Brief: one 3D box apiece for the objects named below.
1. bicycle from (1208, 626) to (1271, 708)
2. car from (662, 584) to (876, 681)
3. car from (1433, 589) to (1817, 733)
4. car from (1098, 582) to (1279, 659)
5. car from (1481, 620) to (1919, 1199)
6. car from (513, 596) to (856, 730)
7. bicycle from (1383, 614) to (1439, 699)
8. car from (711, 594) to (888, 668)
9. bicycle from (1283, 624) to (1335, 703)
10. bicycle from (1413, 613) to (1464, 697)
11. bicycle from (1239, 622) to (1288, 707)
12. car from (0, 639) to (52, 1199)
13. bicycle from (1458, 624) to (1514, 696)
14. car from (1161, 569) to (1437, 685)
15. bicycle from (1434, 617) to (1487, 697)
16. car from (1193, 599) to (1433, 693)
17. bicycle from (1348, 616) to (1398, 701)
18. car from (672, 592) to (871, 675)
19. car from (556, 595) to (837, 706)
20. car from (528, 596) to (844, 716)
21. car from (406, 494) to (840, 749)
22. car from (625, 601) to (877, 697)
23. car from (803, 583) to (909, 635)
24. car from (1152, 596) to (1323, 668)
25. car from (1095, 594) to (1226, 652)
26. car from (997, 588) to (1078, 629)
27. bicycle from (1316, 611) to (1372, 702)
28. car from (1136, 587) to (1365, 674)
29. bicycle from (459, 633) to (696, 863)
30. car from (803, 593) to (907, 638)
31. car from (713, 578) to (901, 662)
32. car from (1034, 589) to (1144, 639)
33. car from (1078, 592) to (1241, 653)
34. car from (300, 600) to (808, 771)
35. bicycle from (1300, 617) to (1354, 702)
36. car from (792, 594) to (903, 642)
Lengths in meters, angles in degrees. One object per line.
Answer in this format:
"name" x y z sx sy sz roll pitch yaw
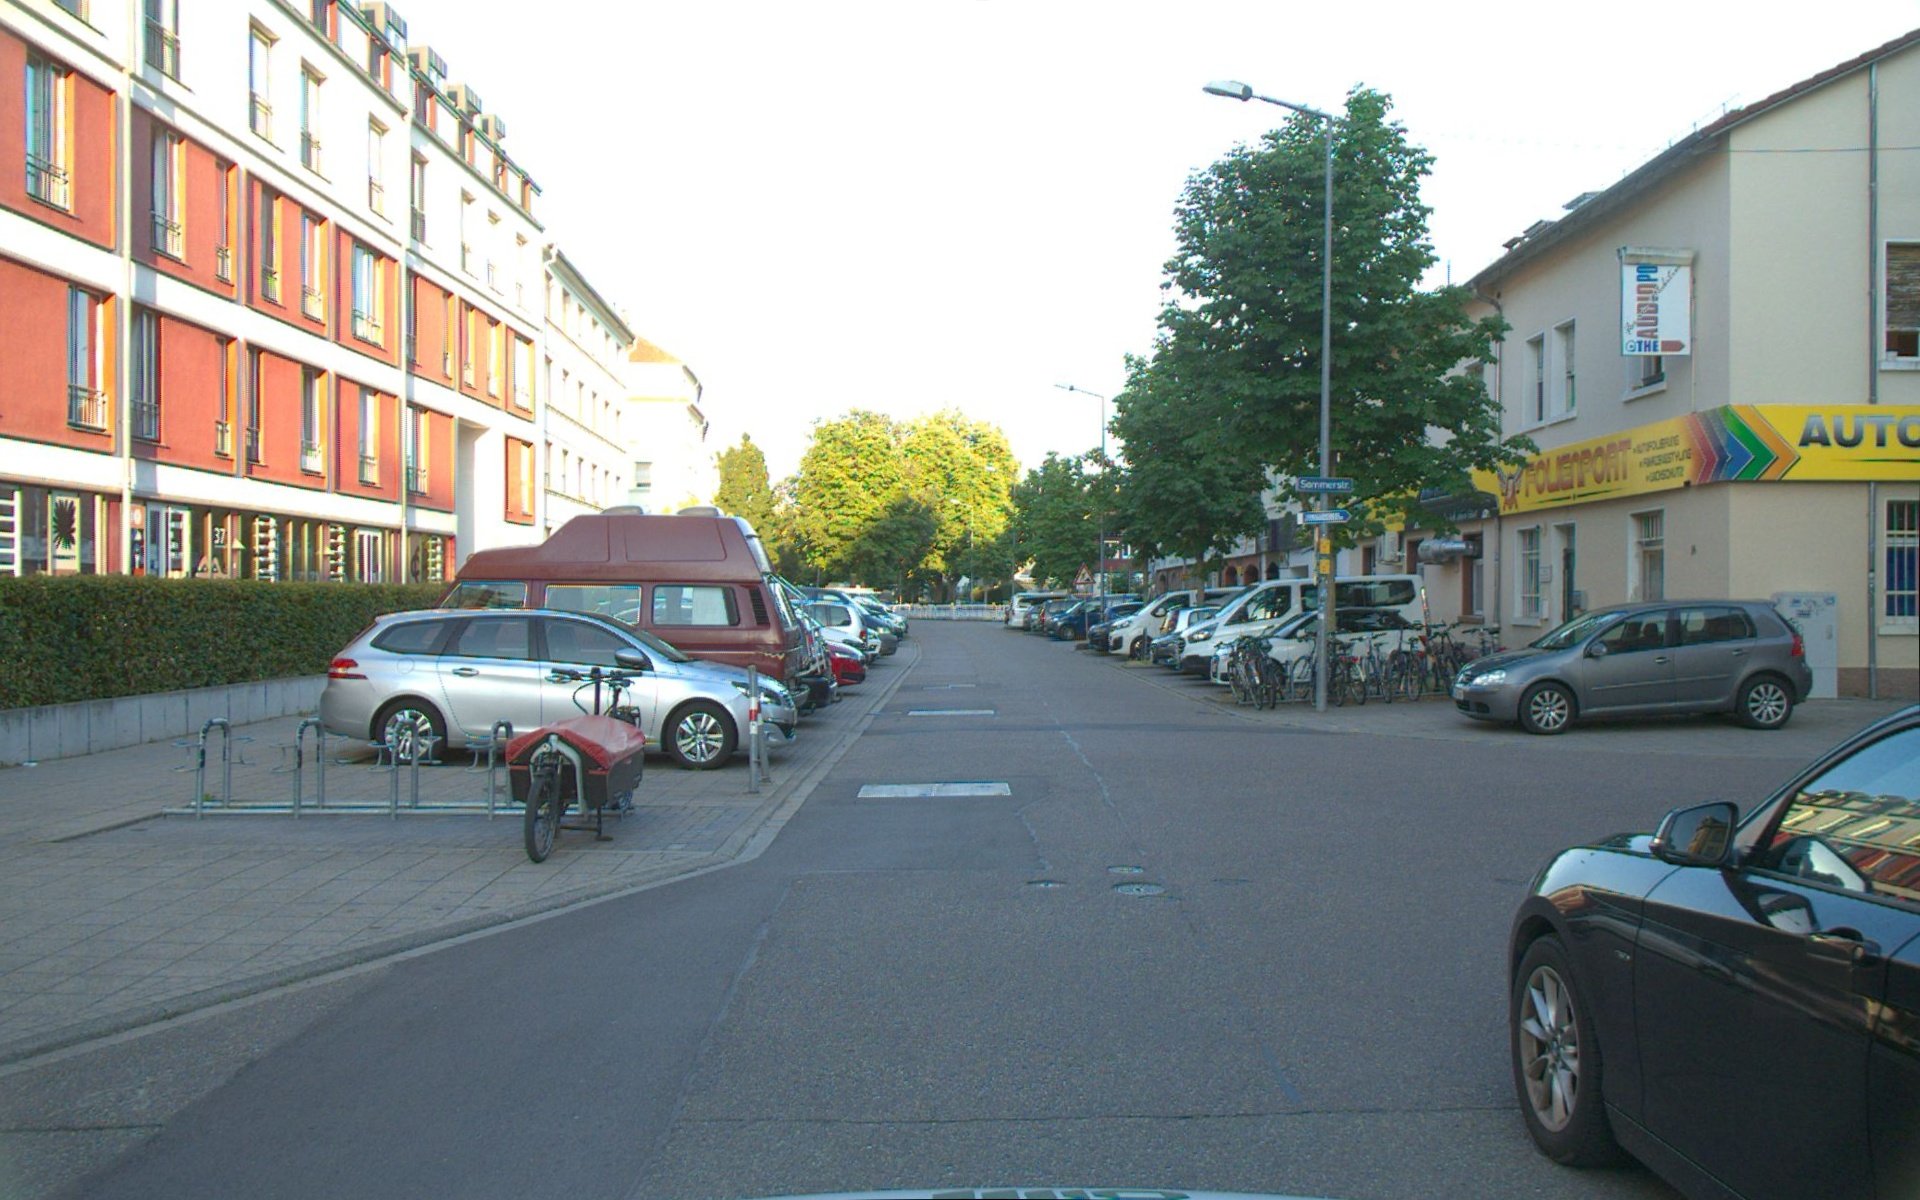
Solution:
"bicycle" 4.233 0.994 25.171 0.429 1.150 2.015 -1 0 -5
"car" -3.905 0.655 34.405 4.169 1.868 2.000 1 0 0
"car" 7.991 0.702 20.136 3.967 1.540 1.757 -1 2 1
"car" 6.501 0.576 47.454 4.844 1.992 2.049 -2 0 -2
"car" 2.489 0.807 3.084 1.686 1.449 4.253 1 0 0
"car" -3.461 0.783 21.372 4.124 1.565 1.790 1 0 -2
"bicycle" 6.851 0.842 25.181 0.435 1.221 1.481 -1 0 1
"car" -3.944 0.755 41.233 4.169 1.681 1.888 1 0 0
"bicycle" 5.339 0.947 25.383 0.378 1.133 2.017 -1 0 1
"bicycle" 7.271 0.813 25.169 0.345 1.221 1.481 -1 0 1
"bicycle" 4.643 0.961 25.355 0.378 1.221 2.017 -1 0 1
"car" -2.530 0.849 0.891 1.617 1.480 3.944 -3 0 6
"bicycle" 8.024 0.903 25.290 0.380 1.035 1.481 -1 0 1
"car" 6.522 0.515 32.289 4.887 2.018 2.220 -2 0 1
"bicycle" 7.626 0.852 25.247 0.345 1.163 1.481 -1 0 1
"car" 6.244 0.794 29.503 3.840 1.477 1.767 -2 0 -2
"bicycle" 6.285 0.874 25.216 0.378 1.221 1.481 -1 0 1
"car" -4.143 0.729 36.878 4.169 1.689 2.000 1 0 0
"car" -4.086 0.770 26.203 4.124 1.603 1.999 1 0 -2
"car" -3.901 0.773 23.942 4.120 1.565 1.843 1 0 6
"car" -3.705 0.228 18.806 4.418 2.629 2.000 1 0 2
"car" -3.597 0.831 28.982 4.122 1.516 1.850 1 0 1
"car" -4.526 0.390 72.299 4.440 2.171 2.000 1 0 0
"car" 6.702 0.760 40.265 3.831 1.552 1.939 -2 0 1
"car" 6.903 0.789 57.300 4.229 1.835 1.810 -2 0 -2
"car" 3.996 0.448 85.490 3.890 1.945 2.047 -2 0 -5
"bicycle" 5.874 0.840 25.376 0.378 1.327 2.017 -1 0 1
"car" 6.537 0.677 37.633 4.842 1.773 2.049 -2 0 1
"bicycle" -2.424 0.878 10.922 0.791 1.243 2.866 1 0 2
"car" -4.396 0.649 69.660 4.169 1.780 2.000 1 0 0
"car" -4.002 0.524 43.790 4.751 2.056 1.906 1 0 0
"car" 5.421 0.590 69.949 4.391 1.945 1.686 -2 0 -5
"car" 6.266 0.704 52.398 4.844 1.718 2.076 -2 0 -2
"car" -3.816 0.798 16.228 4.523 1.486 1.879 1 0 -3
"bicycle" 5.618 0.887 25.368 0.378 1.221 2.017 -1 0 1
"car" -4.364 0.710 64.887 4.169 1.744 2.000 1 0 0
